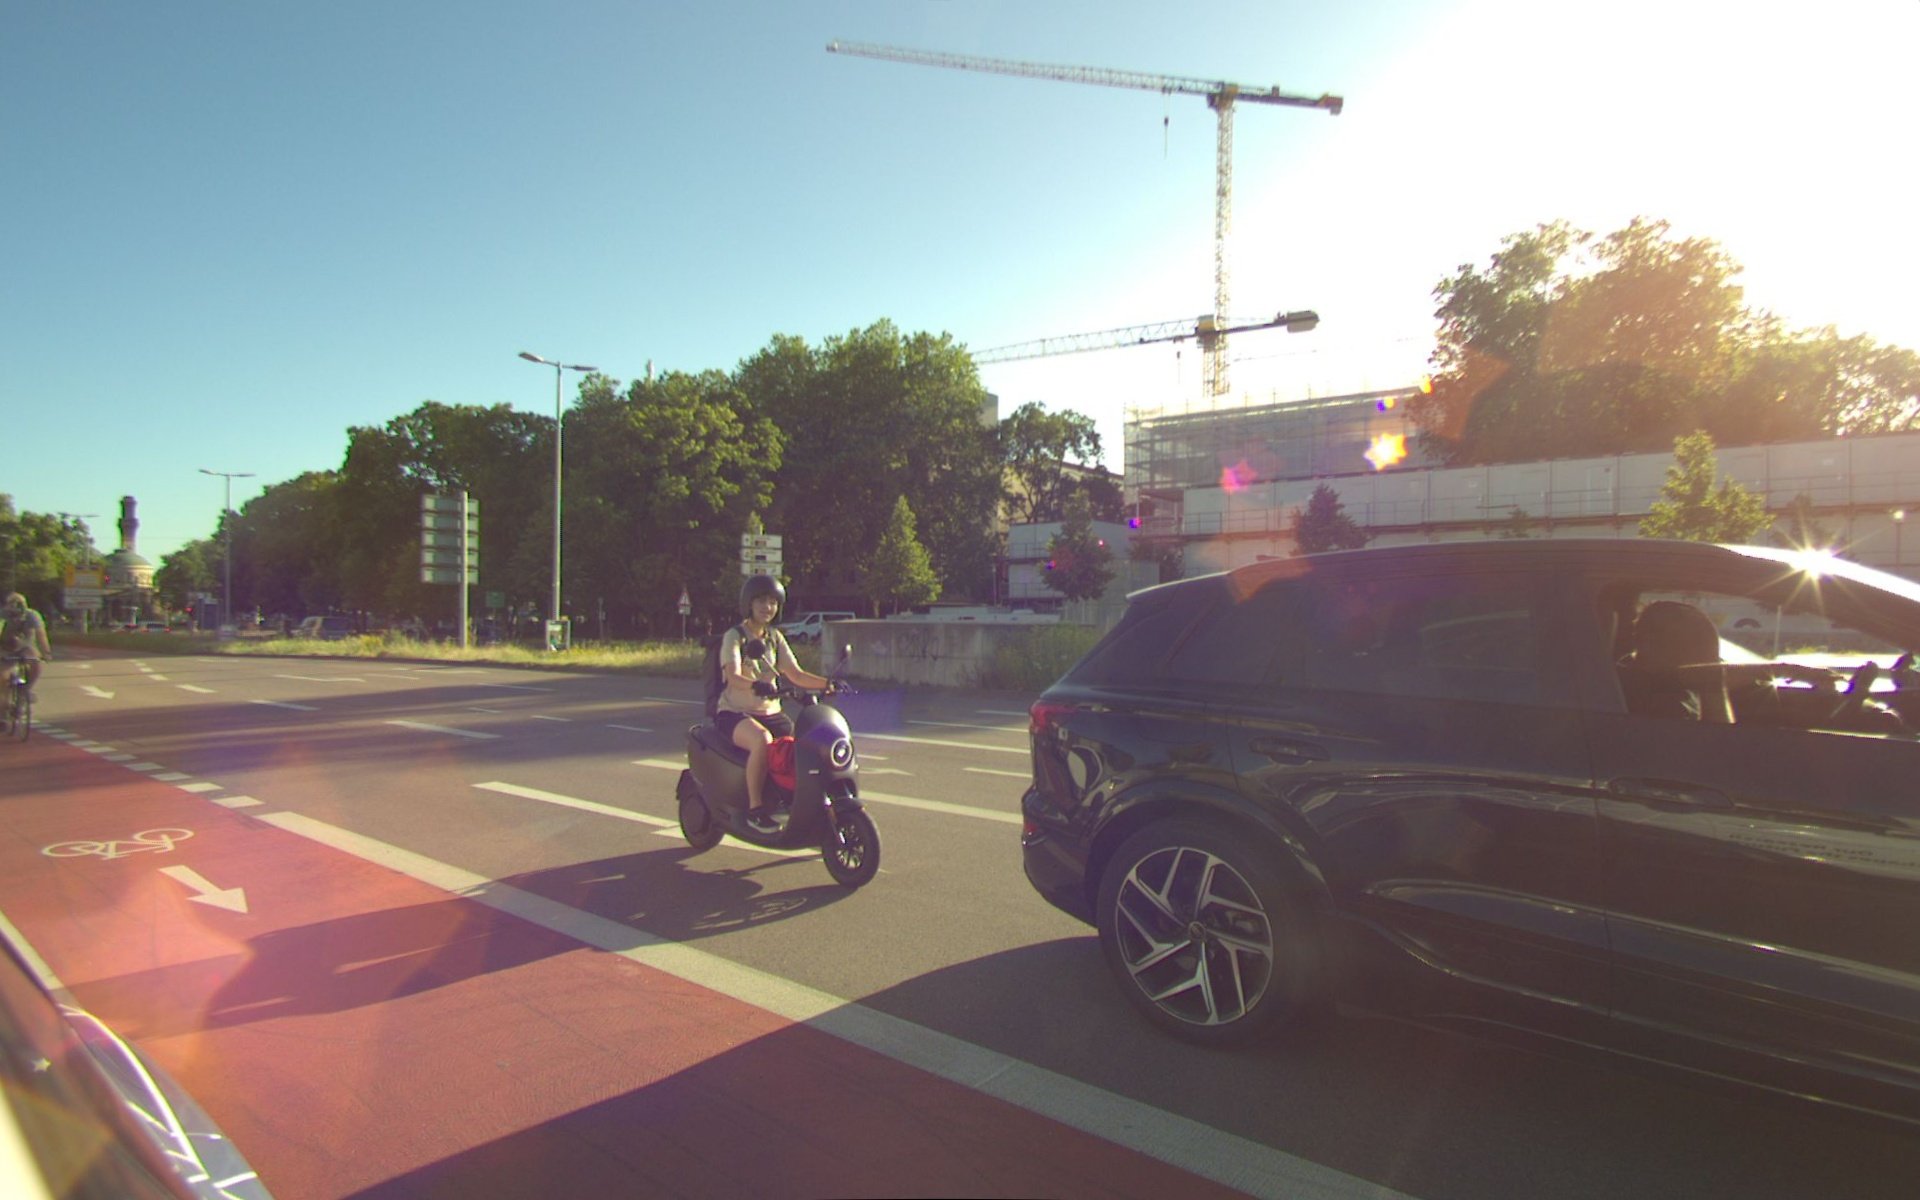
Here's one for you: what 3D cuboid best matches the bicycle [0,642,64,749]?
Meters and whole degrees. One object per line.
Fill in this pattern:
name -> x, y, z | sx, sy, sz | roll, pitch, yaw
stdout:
bicycle -> -11.422, 1.117, 12.235 | 1.505, 1.201, 0.680 | -1, -2, 41

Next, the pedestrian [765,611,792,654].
pedestrian -> -8.795, 1.580, 49.041 | 0.942, 2.029, 0.841 | -1, 0, -42

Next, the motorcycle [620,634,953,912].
motorcycle -> -1.032, 0.844, 5.716 | 1.943, 1.290, 0.817 | -1, -2, 41

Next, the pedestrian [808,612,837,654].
pedestrian -> -6.581, 1.556, 48.455 | 0.815, 1.978, 1.111 | -1, 0, 41

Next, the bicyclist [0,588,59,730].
bicyclist -> -11.519, 0.710, 12.336 | 0.877, 1.671, 0.666 | -1, -2, 41

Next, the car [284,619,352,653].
car -> -38.124, 2.136, 60.056 | 4.925, 1.937, 1.863 | -1, -2, 39

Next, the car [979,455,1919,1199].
car -> 2.547, 0.545, 3.196 | 4.660, 1.720, 2.144 | -1, -1, 40

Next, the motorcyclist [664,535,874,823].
motorcyclist -> -1.086, 0.415, 5.781 | 0.877, 1.475, 0.813 | -1, -2, 41

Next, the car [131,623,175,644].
car -> -55.960, 2.293, 70.152 | 3.941, 1.387, 1.705 | -1, -2, 41

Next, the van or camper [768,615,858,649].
van or camper -> -8.955, 1.925, 61.893 | 1.951, 1.960, 5.425 | -2, -2, 44

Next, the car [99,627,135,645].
car -> -74.935, 3.190, 89.928 | 3.979, 1.492, 1.857 | -1, -2, 41

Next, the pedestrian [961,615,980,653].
pedestrian -> 0.464, 1.472, 44.119 | 0.597, 1.614, 0.580 | -1, 0, 38
